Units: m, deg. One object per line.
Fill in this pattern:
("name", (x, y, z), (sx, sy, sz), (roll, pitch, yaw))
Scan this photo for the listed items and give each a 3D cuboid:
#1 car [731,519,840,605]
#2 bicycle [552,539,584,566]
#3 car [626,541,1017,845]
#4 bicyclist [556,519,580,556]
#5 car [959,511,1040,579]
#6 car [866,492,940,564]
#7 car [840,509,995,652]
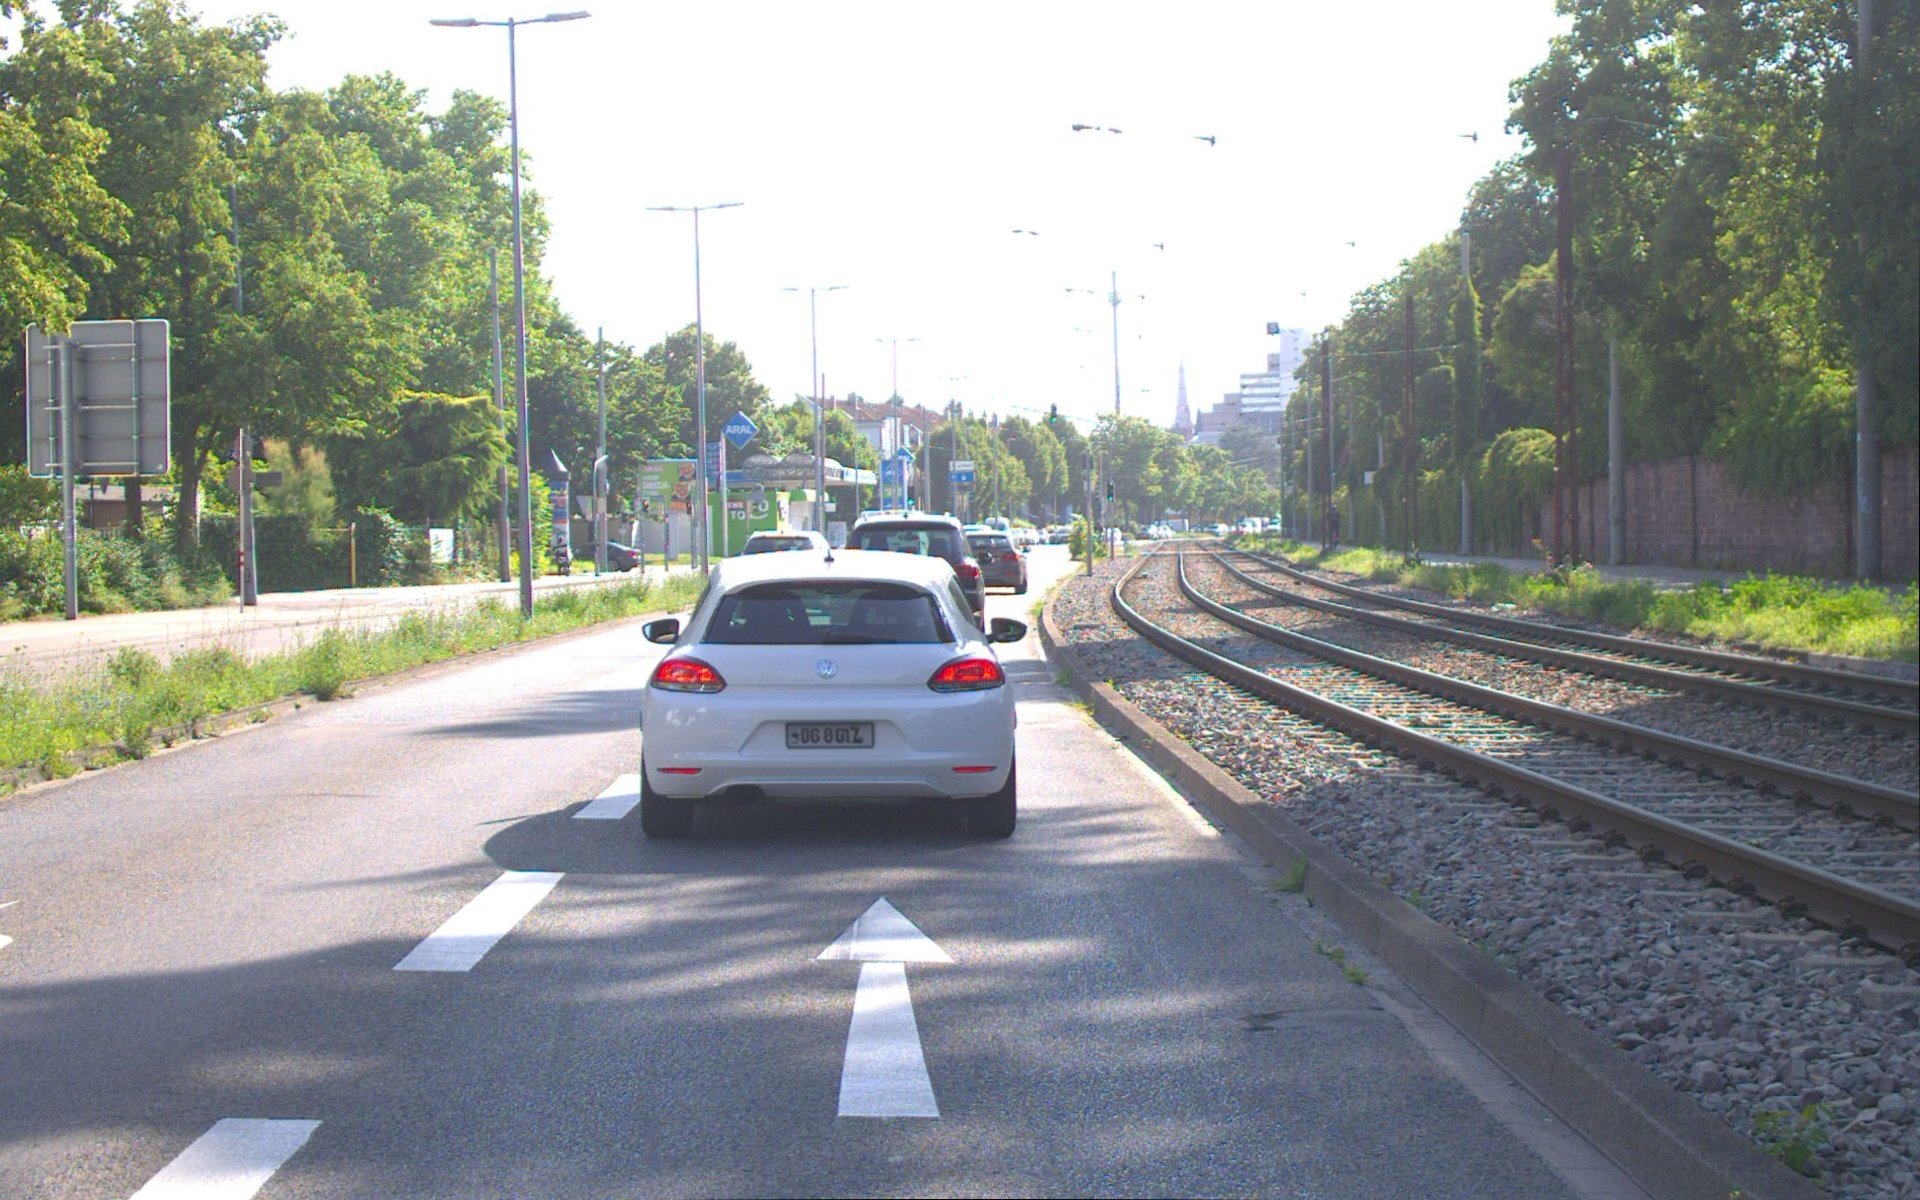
("car", (-3.159, -0.723, 62.912), (1.760, 1.480, 4.645), (1, 1, 0))
("bicycle", (-15.595, -1.893, 136.695), (0.662, 1.046, 2.580), (-1, 1, 7))
("car", (-0.638, 0.395, 17.546), (1.781, 1.351, 3.601), (1, 1, 0))
("bicyclist", (-15.594, -2.501, 136.757), (0.662, 1.447, 1.050), (-1, 1, 7))
("car", (0.862, -1.253, 77.278), (1.749, 1.480, 3.601), (1, 1, 0))
("car", (-1.598, -2.048, 97.883), (1.818, 1.956, 4.402), (-1, 1, 2))
("car", (-0.479, -0.259, 40.403), (1.724, 1.587, 3.601), (1, 1, 0))
